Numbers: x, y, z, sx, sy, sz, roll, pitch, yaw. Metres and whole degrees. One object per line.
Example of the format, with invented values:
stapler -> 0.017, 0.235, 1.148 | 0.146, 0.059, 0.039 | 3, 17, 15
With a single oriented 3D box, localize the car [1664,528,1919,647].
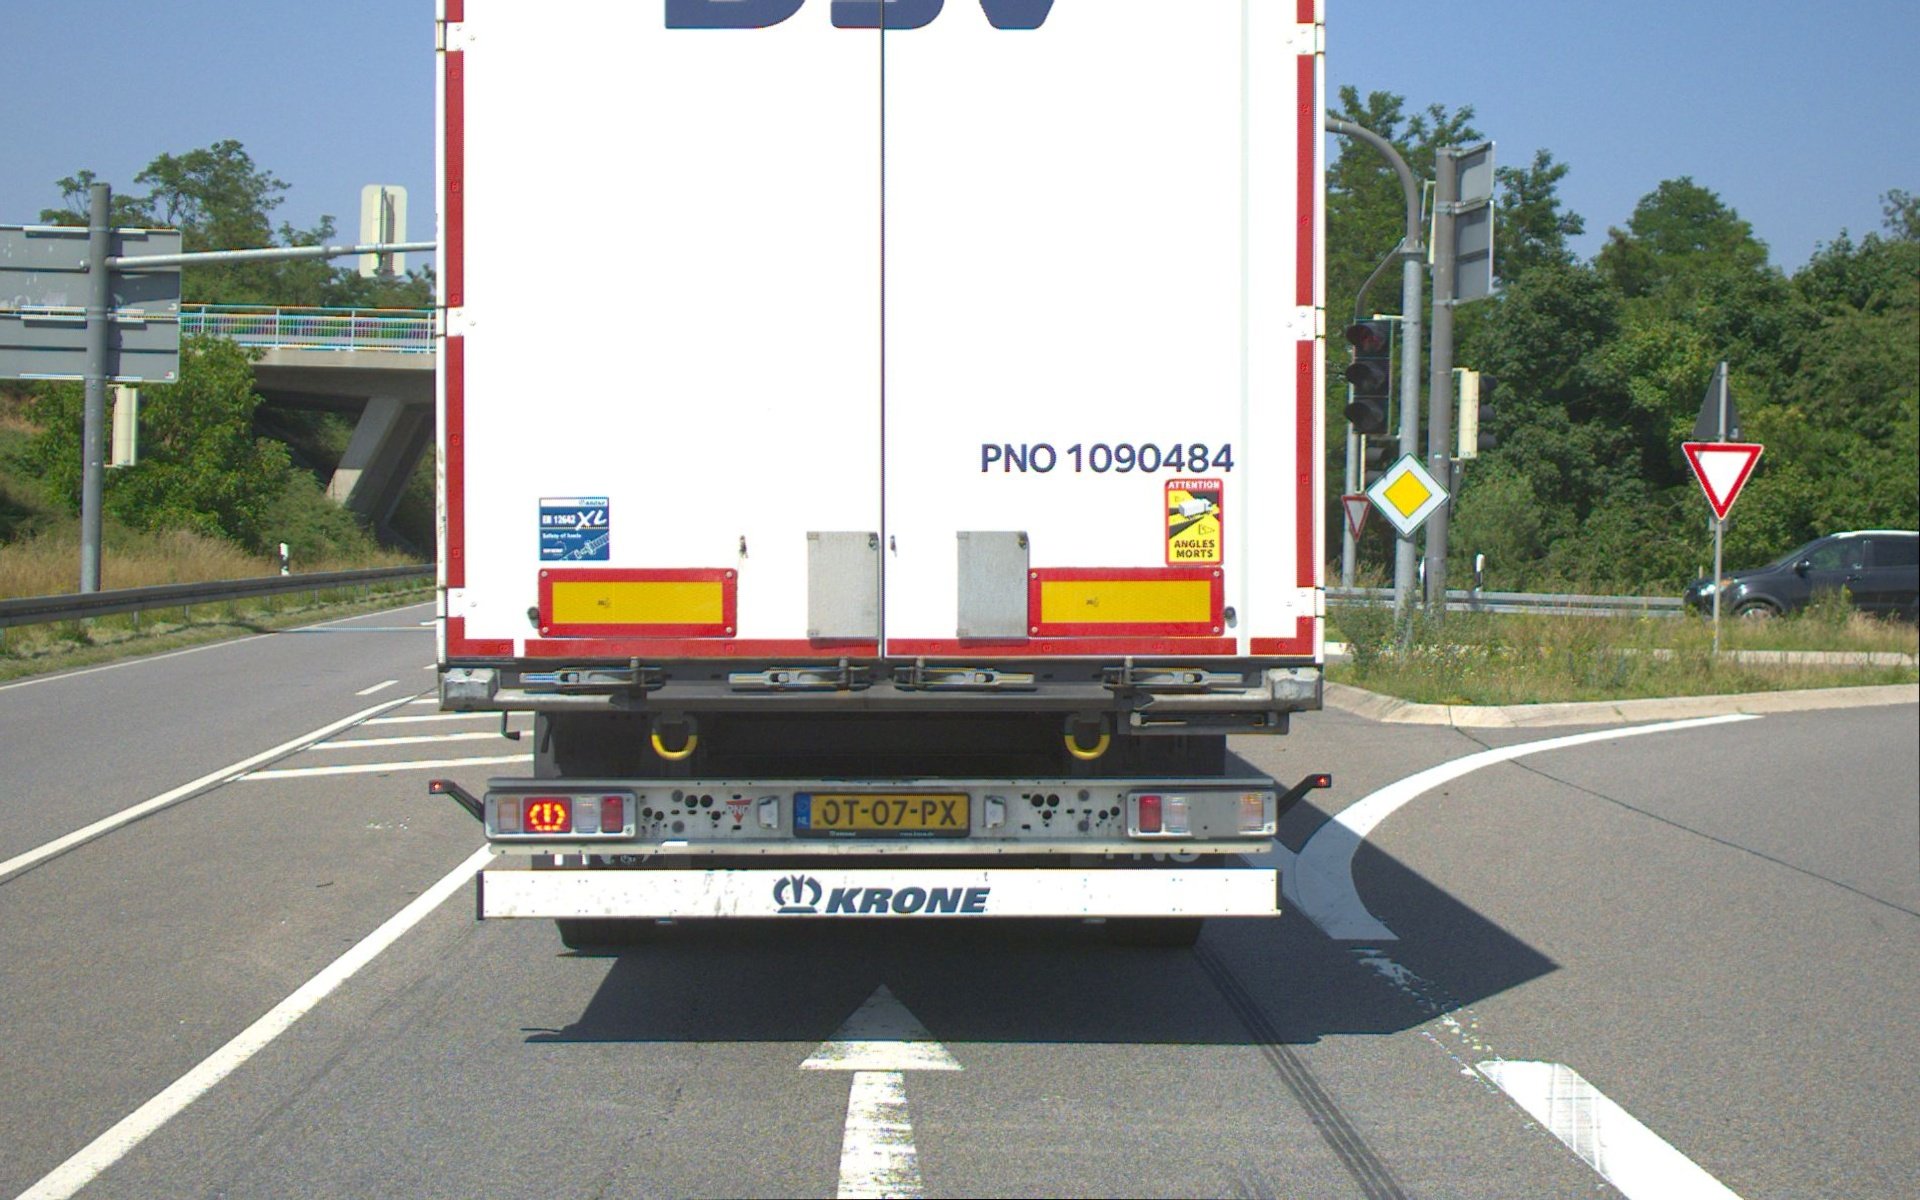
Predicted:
car -> 12.151, -0.186, 48.897 | 3.986, 1.634, 1.841 | 0, 0, 5

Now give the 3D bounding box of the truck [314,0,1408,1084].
truck -> -0.355, -0.714, 14.383 | 2.987, 3.928, 9.876 | 0, 1, -1
